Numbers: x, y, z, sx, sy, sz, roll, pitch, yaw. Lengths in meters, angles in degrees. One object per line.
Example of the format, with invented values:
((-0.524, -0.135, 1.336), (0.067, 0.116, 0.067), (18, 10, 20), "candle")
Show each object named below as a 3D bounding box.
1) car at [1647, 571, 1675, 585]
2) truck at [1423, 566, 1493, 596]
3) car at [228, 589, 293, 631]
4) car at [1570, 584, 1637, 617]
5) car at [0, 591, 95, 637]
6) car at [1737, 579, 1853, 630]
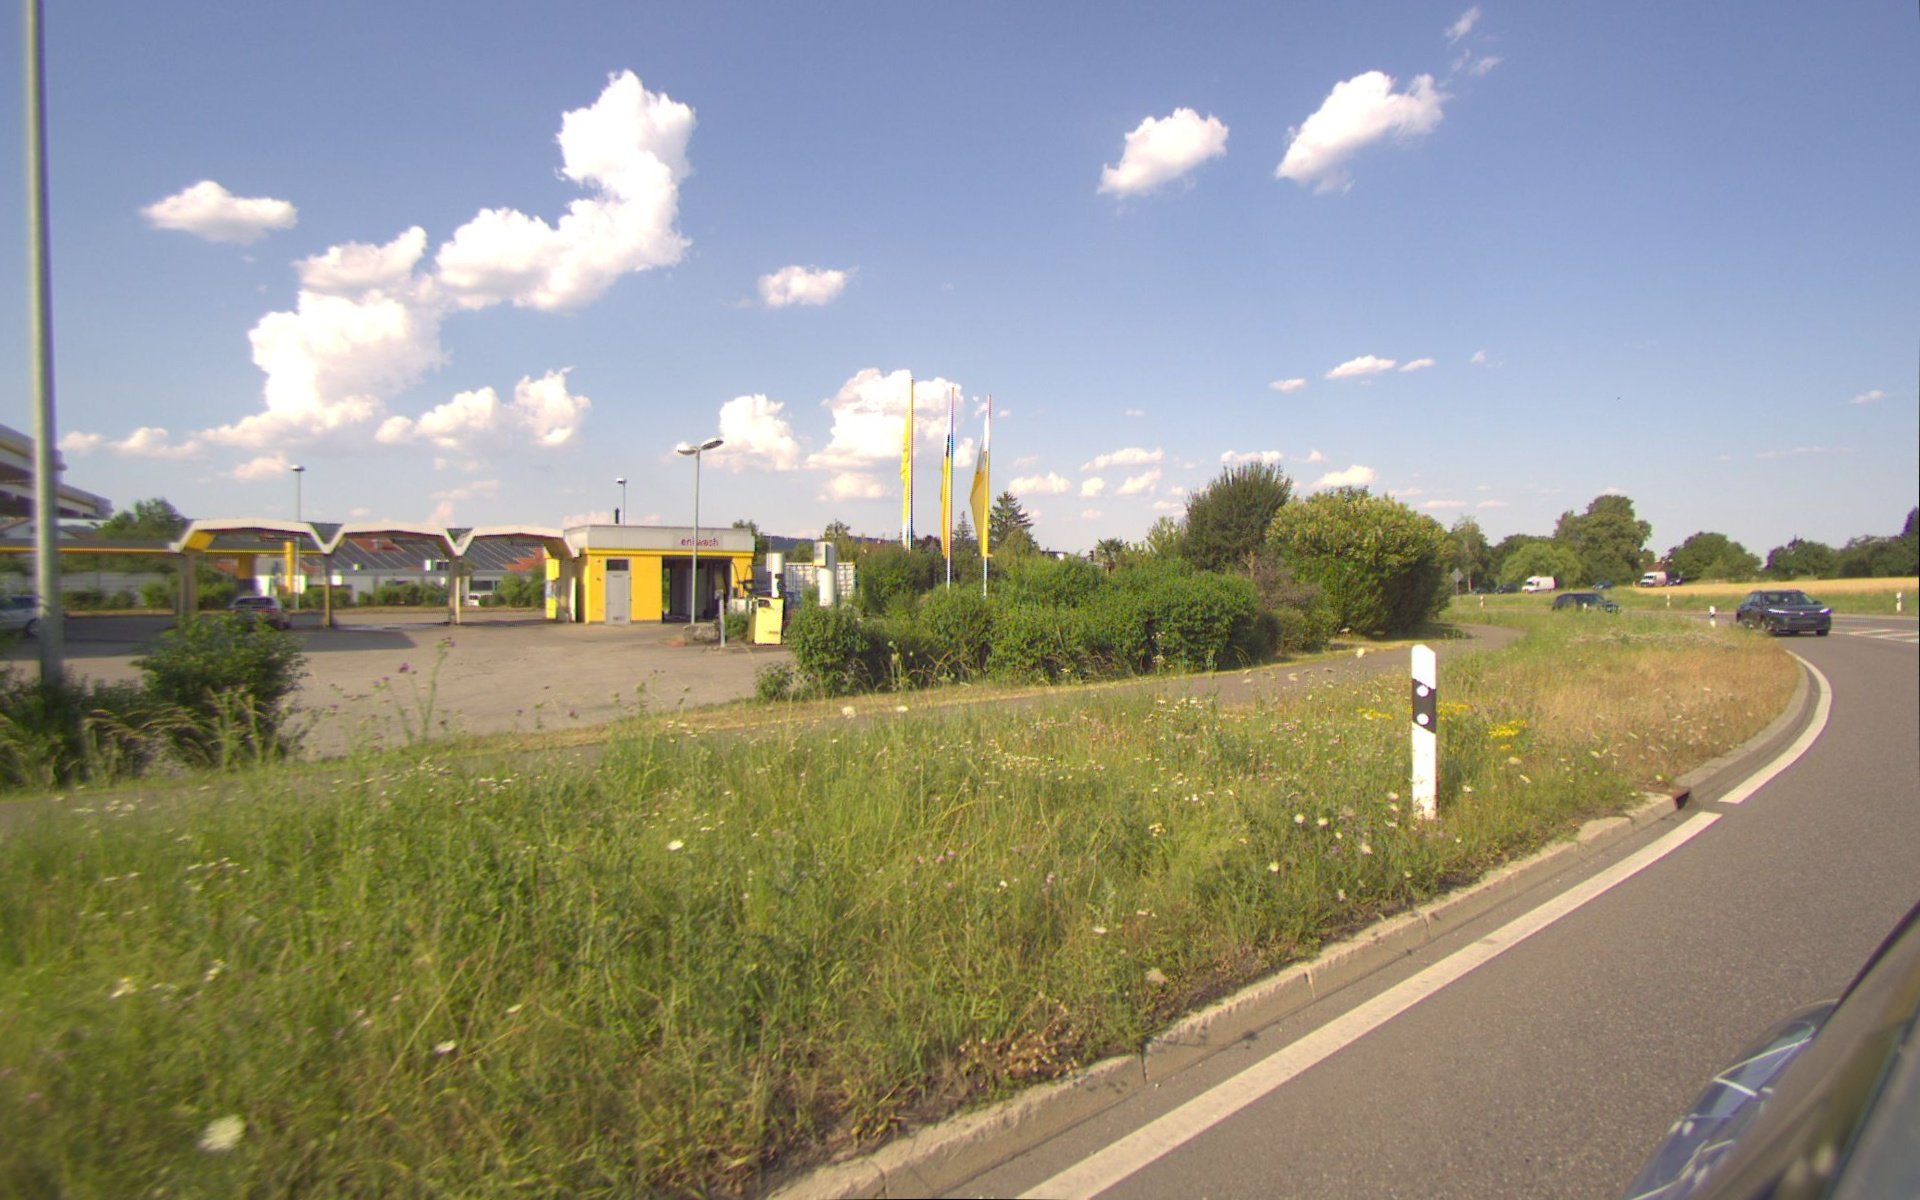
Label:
((122.295, -3.865, 176.544), (3.918, 2.042, 2.000), (0, -11, -28), "car")
((72.628, -2.749, 147.354), (12.647, 3.822, 2.531), (-3, -2, -31), "truck")
((-28.205, 0.427, 40.914), (1.768, 1.558, 4.346), (-2, -1, -29), "car")
((34.239, -0.004, 53.955), (1.752, 1.633, 4.524), (-2, 0, 17), "car")
((-32.744, 0.493, 34.740), (1.782, 1.558, 4.311), (-2, 0, 22), "car")
((29.927, 0.134, 36.455), (1.767, 1.650, 4.439), (-2, 0, 20), "car")
